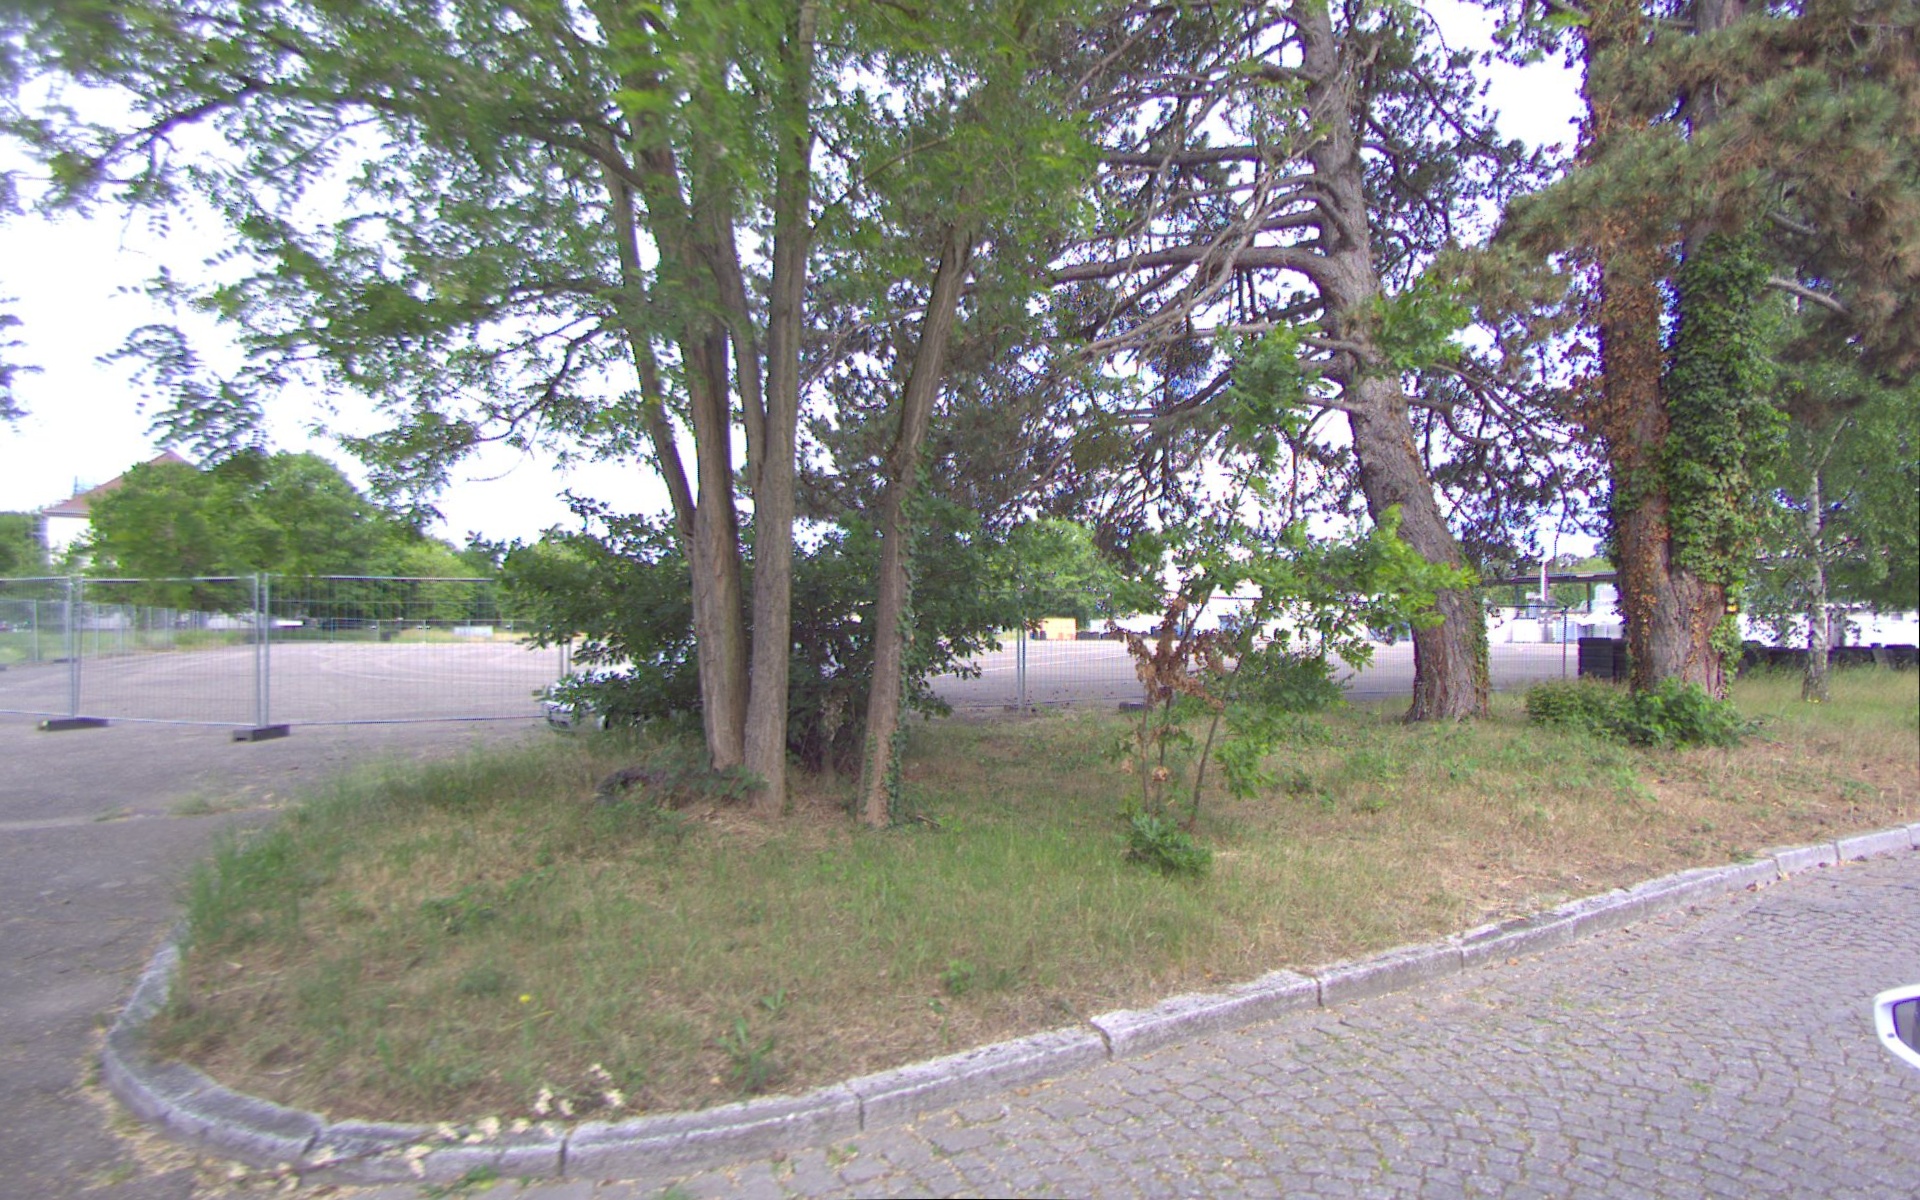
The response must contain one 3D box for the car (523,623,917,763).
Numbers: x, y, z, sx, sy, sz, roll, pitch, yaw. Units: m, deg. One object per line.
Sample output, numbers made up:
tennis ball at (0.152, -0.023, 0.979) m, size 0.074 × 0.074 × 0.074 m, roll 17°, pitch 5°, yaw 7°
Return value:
car at (-2.856, 1.009, 12.315) m, size 4.373 × 1.435 × 1.814 m, roll 1°, pitch -1°, yaw -33°
